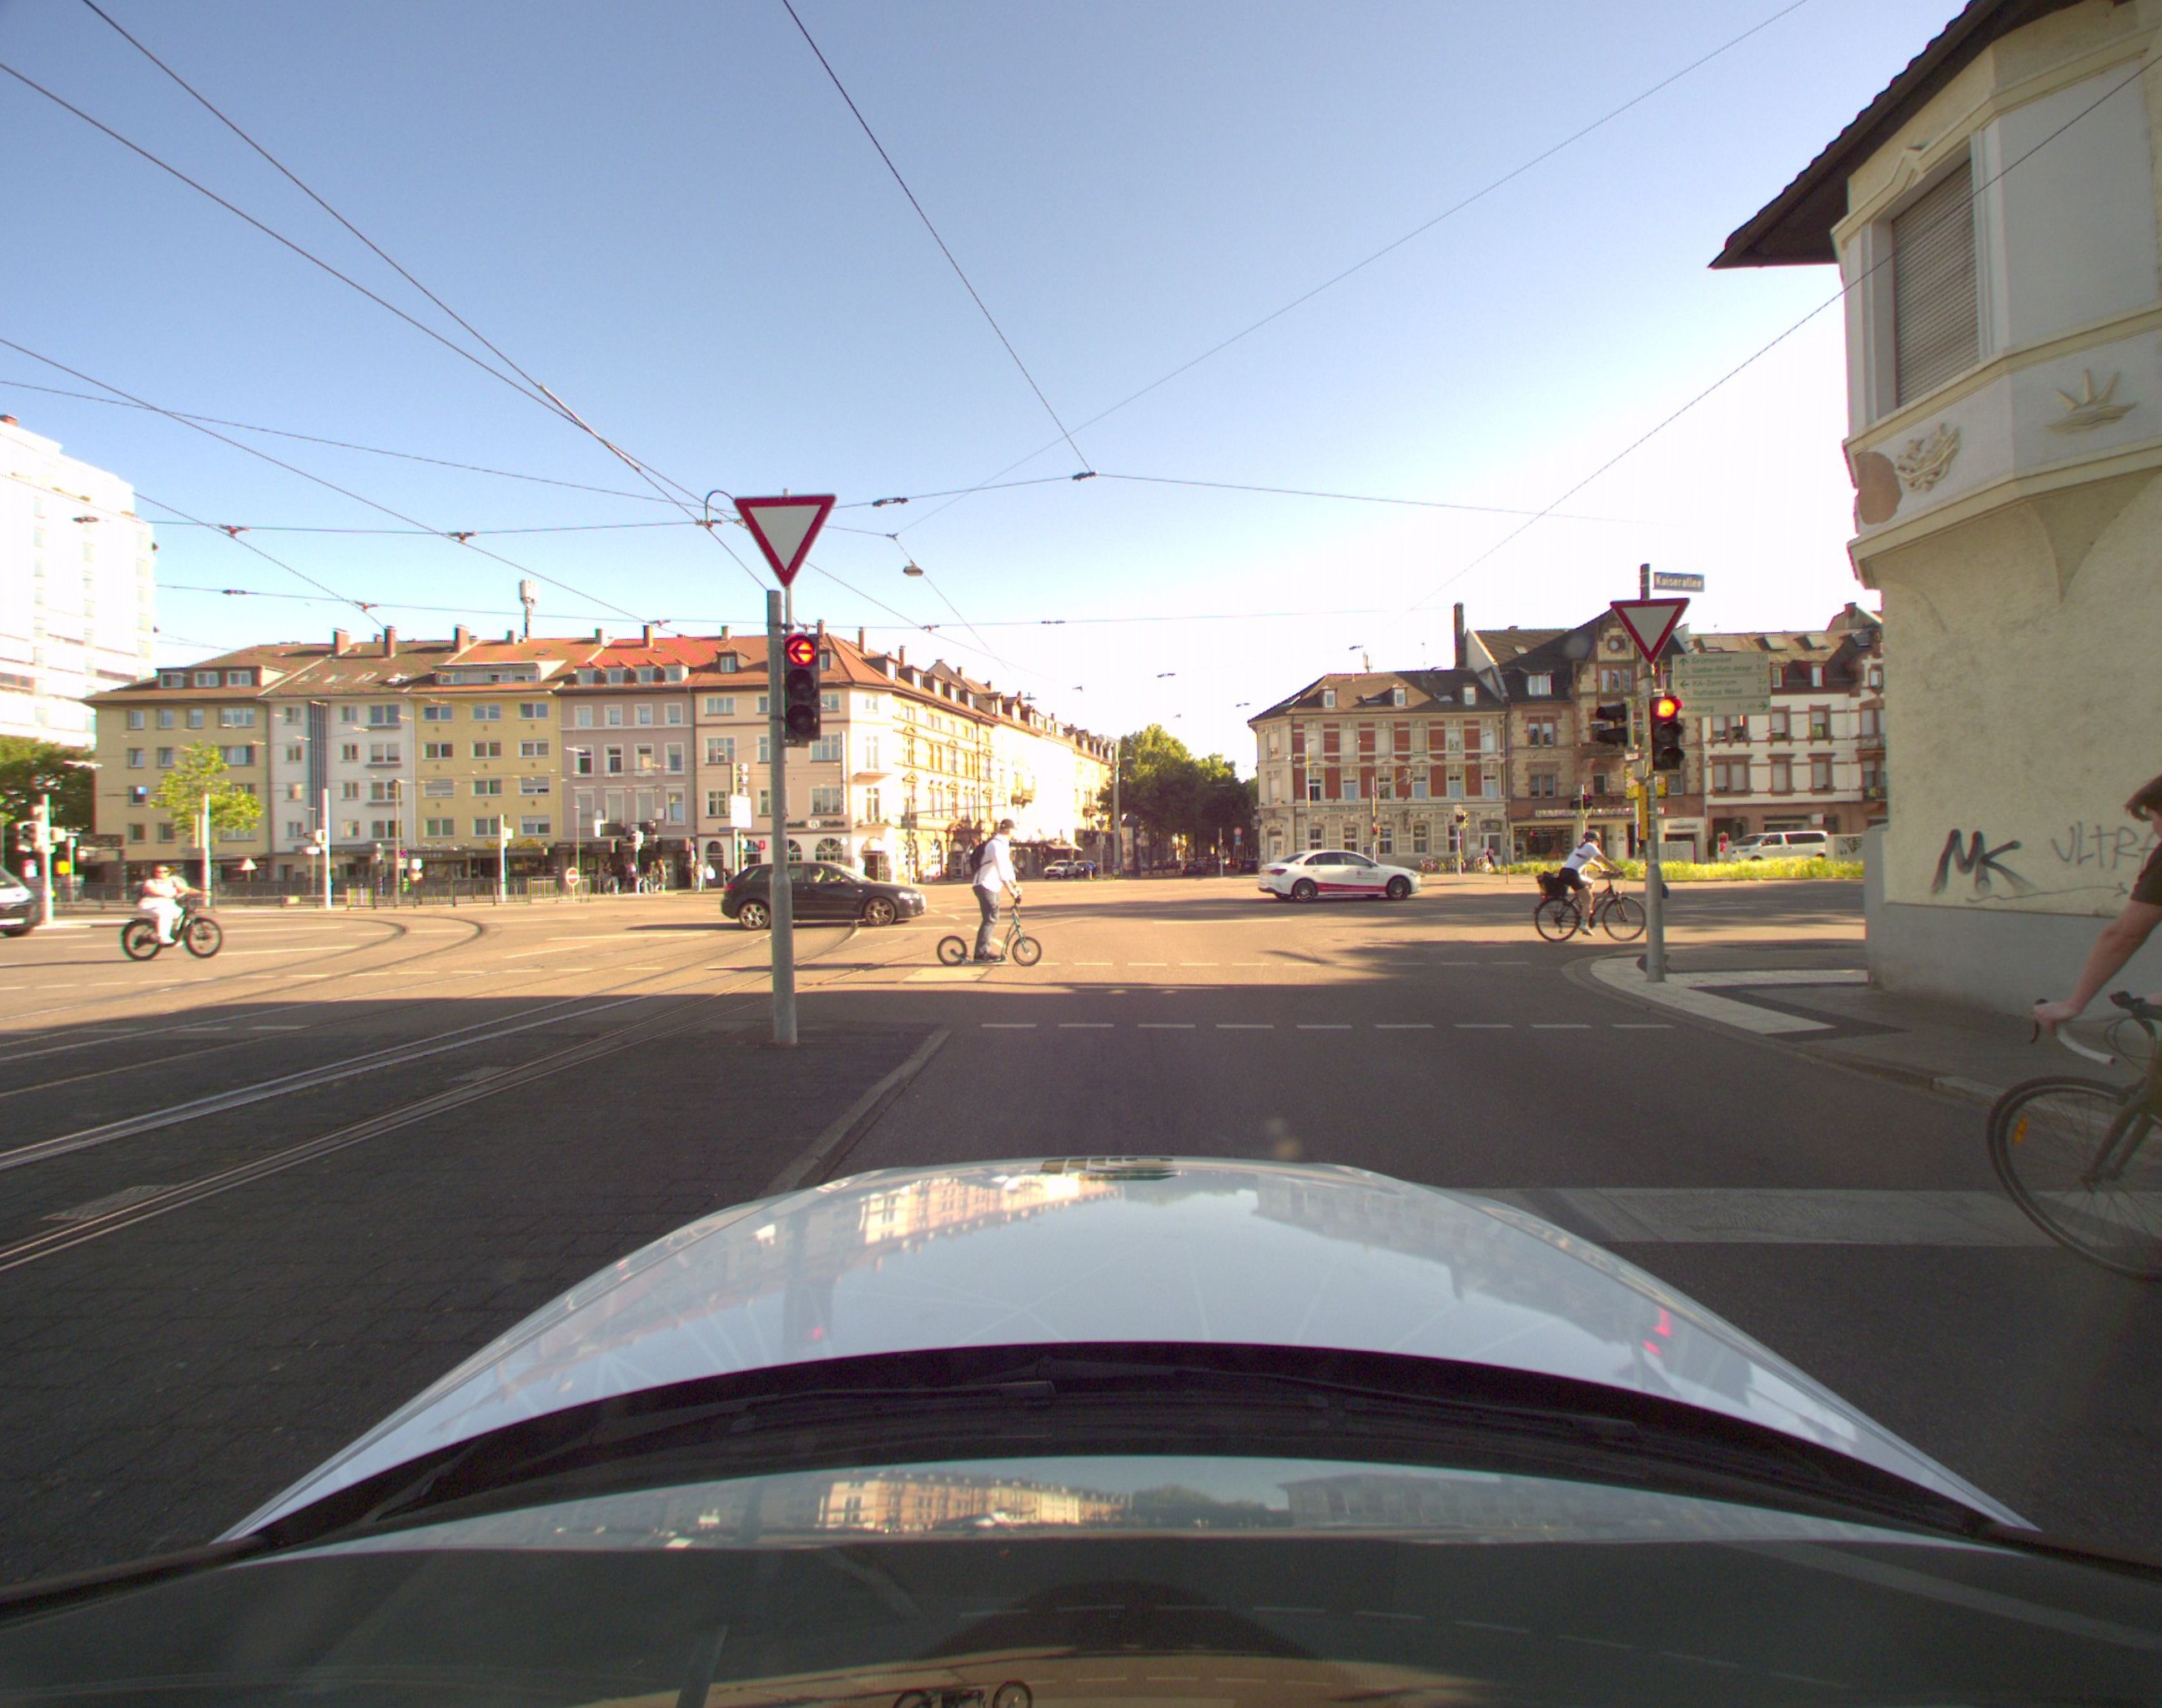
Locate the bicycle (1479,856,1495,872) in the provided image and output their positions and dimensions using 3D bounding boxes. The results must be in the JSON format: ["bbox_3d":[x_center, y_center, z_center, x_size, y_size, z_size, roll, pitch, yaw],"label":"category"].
[{"bbox_3d":[26.335,0.663,52.902,0.483,1.020,1.789,-1,0,12],"label":"bicycle"}]

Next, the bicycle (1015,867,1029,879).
[{"bbox_3d":[-4.759,1.530,65.554,0.650,1.000,1.671,-1,-1,14],"label":"bicycle"}]

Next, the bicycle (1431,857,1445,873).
[{"bbox_3d":[23.161,0.718,52.859,0.483,1.020,1.789,-1,0,12],"label":"bicycle"}]

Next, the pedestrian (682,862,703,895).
[{"bbox_3d":[-20.056,1.272,42.089,0.738,1.682,0.628,-1,0,1],"label":"pedestrian"}]

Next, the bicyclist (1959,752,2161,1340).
[{"bbox_3d":[3.558,0.573,2.486,0.649,1.767,0.995,-1,0,2],"label":"bicyclist"}]

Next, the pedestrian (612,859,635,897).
[{"bbox_3d":[-22.419,1.171,39.889,0.625,1.850,0.778,-1,0,1],"label":"pedestrian"}]

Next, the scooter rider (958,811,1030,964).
[{"bbox_3d":[-1.118,0.427,10.670,0.792,1.912,0.797,-1,0,1],"label":"scooter rider"}]

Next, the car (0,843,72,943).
[{"bbox_3d":[-28.966,1.023,20.120,5.100,2.432,2.079,-2,1,-4],"label":"car"}]

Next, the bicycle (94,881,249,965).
[{"bbox_3d":[-15.948,1.197,14.306,1.934,1.298,0.623,-3,0,0],"label":"bicycle"}]

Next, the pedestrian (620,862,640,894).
[{"bbox_3d":[-23.054,1.216,41.624,0.697,1.581,0.559,-1,0,-4],"label":"pedestrian"}]

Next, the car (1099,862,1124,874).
[{"bbox_3d":[3.837,1.712,102.160,1.977,1.404,4.189,-1,0,18],"label":"car"}]

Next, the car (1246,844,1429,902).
[{"bbox_3d":[7.194,0.515,23.071,4.664,1.473,1.738,-1,0,-6],"label":"car"}]

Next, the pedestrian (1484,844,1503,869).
[{"bbox_3d":[28.497,0.187,56.240,1.029,1.712,0.631,-1,-1,10],"label":"pedestrian"}]

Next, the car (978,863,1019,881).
[{"bbox_3d":[-6.756,1.476,67.349,1.977,1.361,3.836,-1,0,18],"label":"car"}]

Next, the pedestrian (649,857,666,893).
[{"bbox_3d":[-21.664,1.076,41.667,0.559,1.786,0.559,-1,0,-4],"label":"pedestrian"}]

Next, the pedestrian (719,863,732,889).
[{"bbox_3d":[-23.072,1.409,52.918,0.744,1.682,0.623,-1,0,-23],"label":"pedestrian"}]

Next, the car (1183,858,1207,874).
[{"bbox_3d":[10.195,1.088,72.503,1.705,1.300,4.089,-1,0,14],"label":"car"}]

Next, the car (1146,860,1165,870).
[{"bbox_3d":[11.206,1.689,122.486,1.977,1.404,4.189,-1,0,18],"label":"car"}]

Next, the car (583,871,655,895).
[{"bbox_3d":[-30.343,1.900,53.522,3.711,1.491,1.820,0,-1,4],"label":"car"}]

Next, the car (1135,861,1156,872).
[{"bbox_3d":[9.252,1.814,116.808,1.977,1.404,4.189,-1,0,18],"label":"car"}]

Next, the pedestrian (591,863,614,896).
[{"bbox_3d":[-24.903,1.306,42.366,0.764,1.682,0.628,-1,0,1],"label":"pedestrian"}]

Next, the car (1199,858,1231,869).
[{"bbox_3d":[17.341,1.224,105.146,3.959,1.288,1.700,-1,0,13],"label":"car"}]

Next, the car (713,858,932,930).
[{"bbox_3d":[-5.507,0.824,17.804,4.264,1.381,1.642,-1,0,-6],"label":"car"}]

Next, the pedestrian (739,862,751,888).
[{"bbox_3d":[-23.010,1.430,55.725,0.744,1.682,0.623,-1,0,-23],"label":"pedestrian"}]

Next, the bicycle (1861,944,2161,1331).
[{"bbox_3d":[3.559,0.916,2.488,0.568,1.058,1.890,-1,0,2],"label":"bicycle"}]

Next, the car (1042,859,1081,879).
[{"bbox_3d":[-1.586,1.216,67.655,1.977,1.516,4.189,-1,0,18],"label":"car"}]

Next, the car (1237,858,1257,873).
[{"bbox_3d":[16.804,1.130,82.278,1.742,1.420,4.016,-1,0,14],"label":"car"}]

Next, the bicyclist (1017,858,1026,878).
[{"bbox_3d":[-4.765,1.092,65.456,0.486,1.601,0.668,-1,0,12],"label":"bicyclist"}]

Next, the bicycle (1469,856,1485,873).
[{"bbox_3d":[25.631,0.667,52.747,0.483,1.020,1.789,-1,0,12],"label":"bicycle"}]

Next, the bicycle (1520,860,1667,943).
[{"bbox_3d":[8.127,0.730,12.947,1.920,1.223,0.741,-1,0,-6],"label":"bicycle"}]

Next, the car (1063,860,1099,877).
[{"bbox_3d":[0.034,1.310,73.792,1.977,1.404,4.189,-1,0,18],"label":"car"}]

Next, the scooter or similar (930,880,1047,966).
[{"bbox_3d":[-1.183,0.892,10.638,1.426,1.043,0.565,-1,0,1],"label":"scooter or similar"}]

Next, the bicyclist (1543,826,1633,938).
[{"bbox_3d":[8.045,0.431,12.945,0.937,1.713,0.732,-1,0,-6],"label":"bicyclist"}]

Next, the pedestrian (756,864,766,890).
[{"bbox_3d":[-15.810,1.133,40.278,0.364,1.253,0.449,-1,0,-10],"label":"pedestrian"}]

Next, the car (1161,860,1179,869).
[{"bbox_3d":[14.337,1.709,131.244,1.977,1.404,4.189,-1,0,18],"label":"car"}]

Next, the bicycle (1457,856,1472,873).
[{"bbox_3d":[24.819,0.673,52.699,0.483,1.020,1.789,-1,0,12],"label":"bicycle"}]

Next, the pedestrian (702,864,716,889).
[{"bbox_3d":[-26.092,1.583,57.160,0.740,1.682,0.626,-1,0,-10],"label":"pedestrian"}]

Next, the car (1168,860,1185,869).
[{"bbox_3d":[16.037,1.738,136.403,1.977,1.404,4.189,-1,0,18],"label":"car"}]

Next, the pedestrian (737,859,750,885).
[{"bbox_3d":[-21.904,1.156,52.820,0.744,1.682,0.623,-1,0,-23],"label":"pedestrian"}]

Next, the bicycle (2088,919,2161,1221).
[{"bbox_3d":[4.503,0.855,2.473,0.568,1.165,1.890,-1,0,2],"label":"bicycle"}]

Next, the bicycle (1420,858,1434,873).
[{"bbox_3d":[22.485,0.728,52.962,0.483,0.914,1.789,-1,0,12],"label":"bicycle"}]

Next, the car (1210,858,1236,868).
[{"bbox_3d":[19.386,1.213,111.174,3.409,1.239,1.582,-1,0,13],"label":"car"}]

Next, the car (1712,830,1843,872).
[{"bbox_3d":[35.592,-0.151,41.706,4.962,2.013,2.001,-1,0,1],"label":"car"}]

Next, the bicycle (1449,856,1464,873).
[{"bbox_3d":[24.316,0.677,52.790,0.483,1.020,1.789,-1,0,12],"label":"bicycle"}]

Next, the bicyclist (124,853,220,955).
[{"bbox_3d":[-15.973,0.857,14.325,0.796,1.714,0.734,-3,0,0],"label":"bicyclist"}]

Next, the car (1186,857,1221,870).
[{"bbox_3d":[14.967,1.155,99.492,3.959,1.454,1.687,-1,0,13],"label":"car"}]

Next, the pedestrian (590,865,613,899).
[{"bbox_3d":[-23.656,1.356,40.161,0.738,1.635,0.572,-1,0,1],"label":"pedestrian"}]

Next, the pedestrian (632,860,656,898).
[{"bbox_3d":[-21.609,1.221,40.273,0.764,1.829,0.723,-1,0,1],"label":"pedestrian"}]

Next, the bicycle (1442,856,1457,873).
[{"bbox_3d":[23.857,0.680,52.740,0.483,1.020,1.789,-1,0,12],"label":"bicycle"}]
